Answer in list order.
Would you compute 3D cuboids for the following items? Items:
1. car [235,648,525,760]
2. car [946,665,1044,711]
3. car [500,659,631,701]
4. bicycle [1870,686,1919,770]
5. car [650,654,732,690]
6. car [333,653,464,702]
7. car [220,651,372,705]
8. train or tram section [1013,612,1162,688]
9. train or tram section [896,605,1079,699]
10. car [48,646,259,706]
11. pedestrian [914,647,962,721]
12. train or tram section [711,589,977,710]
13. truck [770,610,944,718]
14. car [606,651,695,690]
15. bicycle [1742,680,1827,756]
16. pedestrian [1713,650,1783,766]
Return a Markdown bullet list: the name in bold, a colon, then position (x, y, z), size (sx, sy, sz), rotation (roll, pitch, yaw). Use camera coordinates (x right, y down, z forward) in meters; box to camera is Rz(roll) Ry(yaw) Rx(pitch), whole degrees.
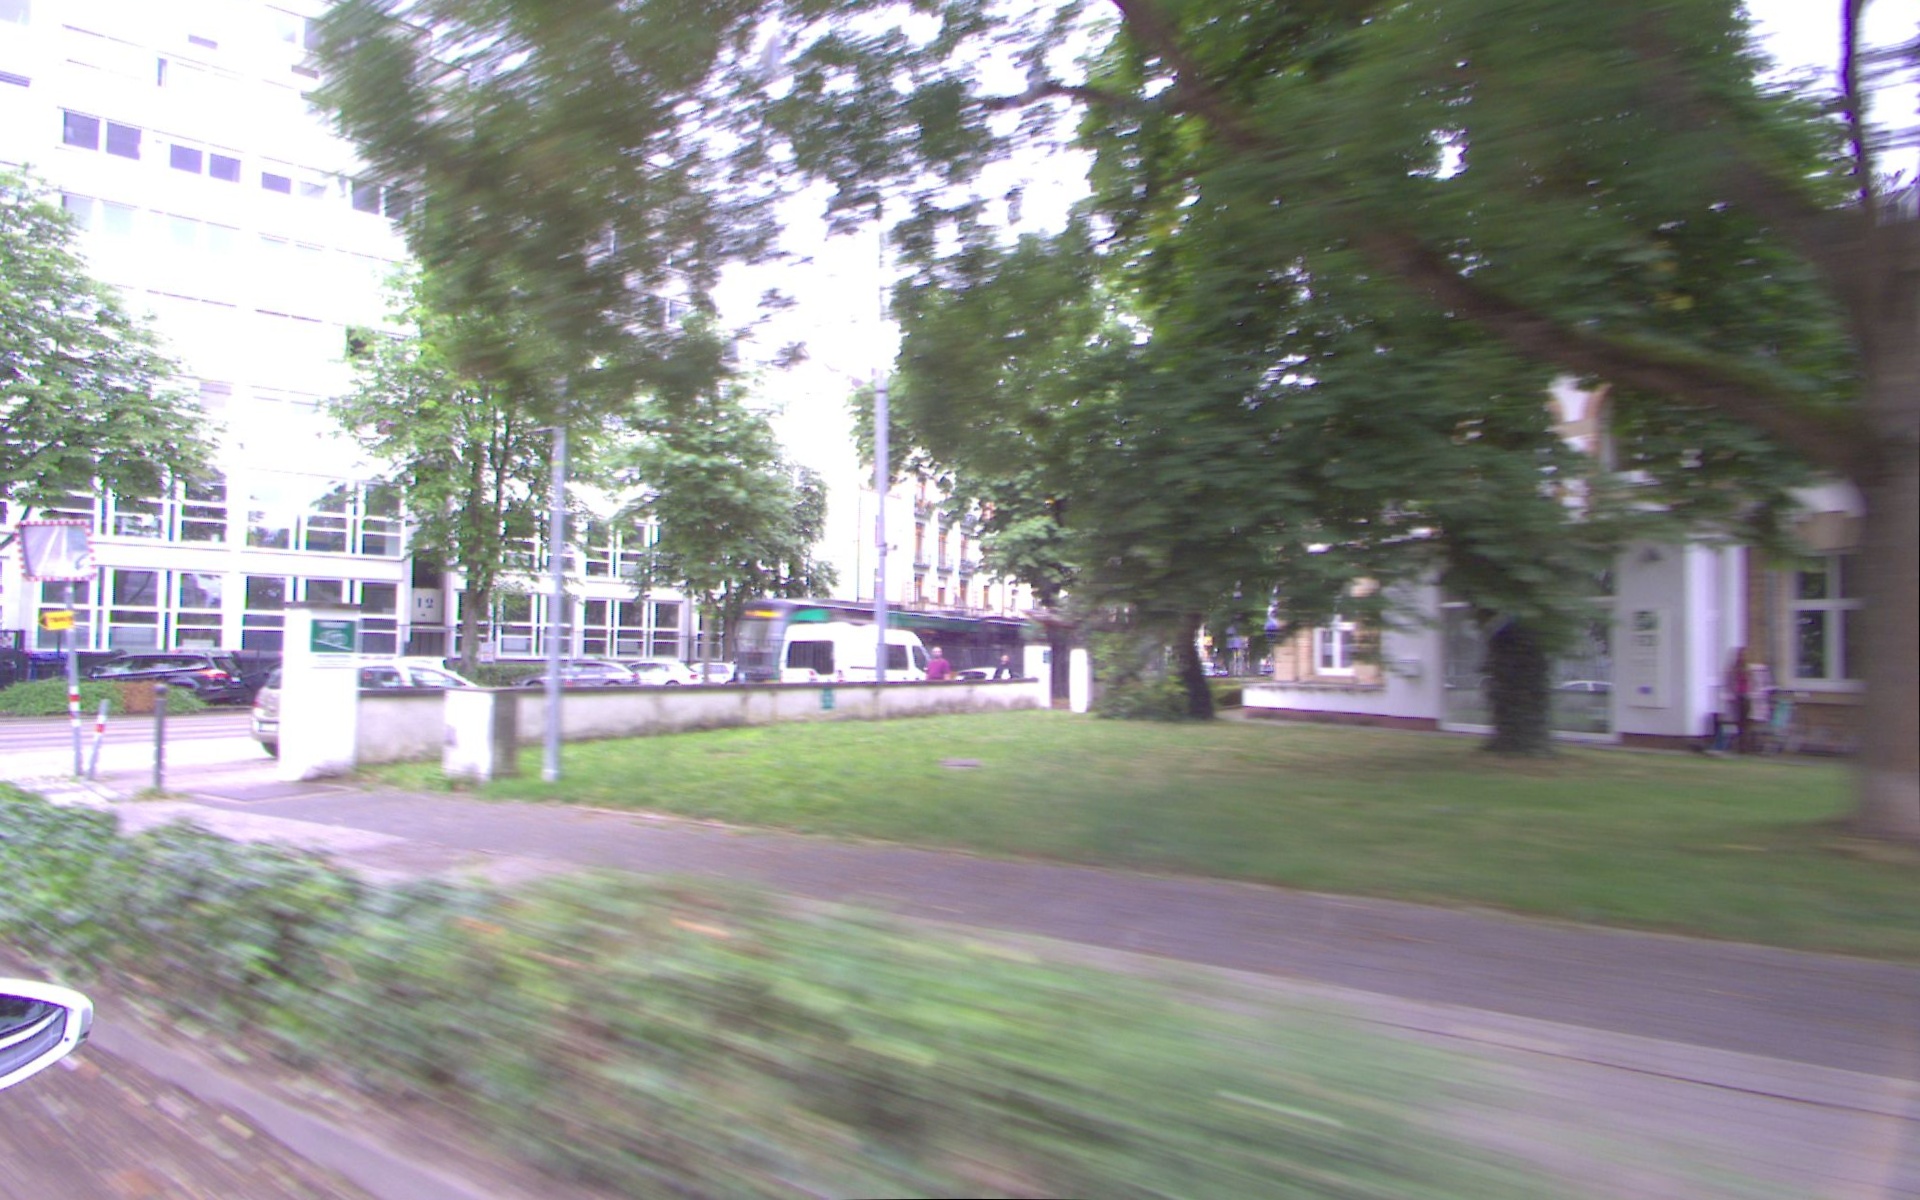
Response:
- **car**: position (-8.959, 1.553, 15.752), size (1.641, 1.519, 3.579), rotation (-1, -4, 31)
- **car**: position (1.218, 2.856, 32.957), size (1.784, 1.371, 3.799), rotation (-1, -3, 27)
- **car**: position (-14.683, 3.008, 37.481), size (4.420, 1.491, 1.416), rotation (1, -5, -18)
- **bicycle**: position (13.592, 1.792, 14.245), size (1.720, 1.128, 0.458), rotation (3, -3, -30)
- **car**: position (-11.527, 3.102, 43.010), size (3.328, 1.492, 1.416), rotation (1, -2, -14)
- **car**: position (-17.739, 2.429, 31.771), size (3.328, 1.492, 1.416), rotation (1, -2, -14)
- **car**: position (-19.045, 2.216, 28.841), size (3.328, 1.492, 1.416), rotation (1, -2, -14)
- **train or tram section**: position (7.473, 2.811, 55.259), size (2.628, 3.659, 14.712), rotation (-1, -3, 30)
- **train or tram section**: position (1.673, 2.374, 45.203), size (2.628, 3.659, 12.408), rotation (-1, -3, 30)
- **car**: position (-20.932, 1.963, 26.172), size (3.885, 1.492, 1.671), rotation (1, -3, -17)
- **pedestrian**: position (-0.525, 2.013, 24.154), size (0.795, 1.739, 0.954), rotation (0, -3, 24)
- **train or tram section**: position (-3.556, 1.817, 36.162), size (2.628, 3.659, 12.408), rotation (-1, -3, 30)
- **truck**: position (-2.603, 1.680, 26.699), size (2.137, 2.577, 4.908), rotation (-1, -3, 30)
- **car**: position (-12.468, 2.847, 40.465), size (3.328, 1.492, 1.416), rotation (1, -2, -14)
- **bicycle**: position (12.965, 1.824, 15.732), size (1.720, 1.128, 0.458), rotation (3, -3, -30)
- **pedestrian**: position (11.313, 1.537, 14.388), size (0.596, 1.607, 0.624), rotation (2, -2, -32)
